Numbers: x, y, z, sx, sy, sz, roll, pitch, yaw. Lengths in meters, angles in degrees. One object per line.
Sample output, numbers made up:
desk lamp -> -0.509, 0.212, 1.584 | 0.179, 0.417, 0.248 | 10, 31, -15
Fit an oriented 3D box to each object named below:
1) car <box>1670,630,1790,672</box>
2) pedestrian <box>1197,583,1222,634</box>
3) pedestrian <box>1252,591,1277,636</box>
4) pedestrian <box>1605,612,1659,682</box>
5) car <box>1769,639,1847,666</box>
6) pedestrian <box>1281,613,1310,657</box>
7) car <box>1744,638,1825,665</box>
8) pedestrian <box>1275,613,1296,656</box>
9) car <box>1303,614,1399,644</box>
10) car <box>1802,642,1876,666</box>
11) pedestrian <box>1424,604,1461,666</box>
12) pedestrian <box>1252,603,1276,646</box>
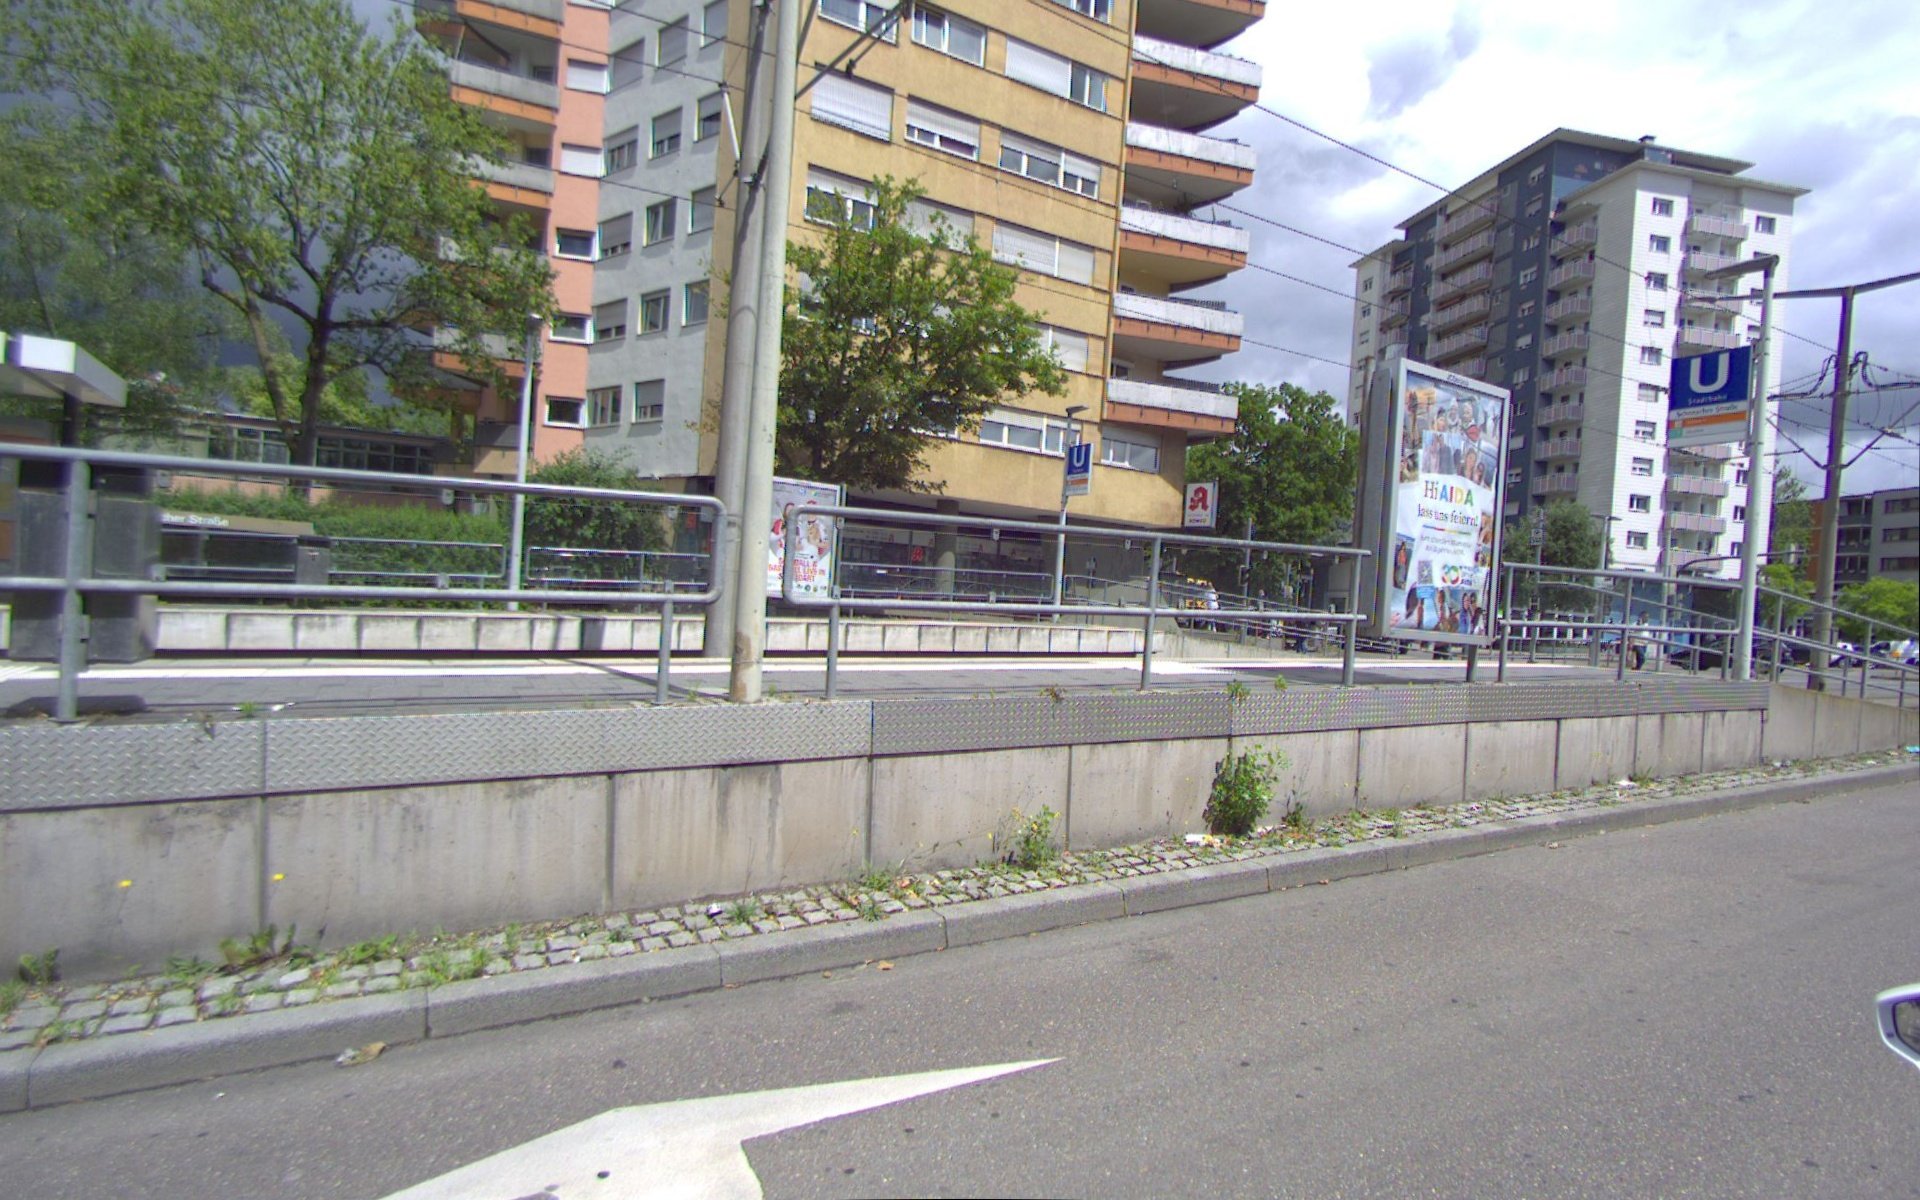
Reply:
car -> 31.451, 2.053, 41.099 | 1.602, 1.482, 3.576 | 2, -1, -37
pedestrian -> 8.827, 0.300, 35.523 | 0.668, 1.729, 0.827 | 2, 0, 2
pedestrian -> 11.045, 0.494, 36.424 | 0.613, 1.599, 0.858 | 2, 0, 33
pedestrian -> 17.165, 1.188, 25.669 | 0.678, 1.719, 0.858 | 2, 0, -15
car -> 54.221, 3.334, 64.254 | 1.602, 1.482, 3.576 | 2, -1, -37
pedestrian -> 10.621, 1.107, 31.780 | 0.677, 1.360, 0.859 | 2, 0, 30
car -> 50.643, 3.145, 61.767 | 1.602, 1.482, 3.576 | 2, -1, -37
pedestrian -> 10.661, 1.124, 32.914 | 0.543, 1.360, 0.669 | 2, 0, 12
car -> 21.573, 1.578, 55.580 | 1.980, 1.500, 4.608 | 2, -1, -35
car -> 59.822, 3.651, 68.387 | 1.602, 1.482, 3.576 | 2, -1, -37
pedestrian -> 13.020, 0.932, 27.131 | 0.633, 1.654, 0.695 | 2, -1, -41
pedestrian -> 11.473, 0.926, 37.878 | 0.759, 1.604, 0.610 | 2, 0, 10
